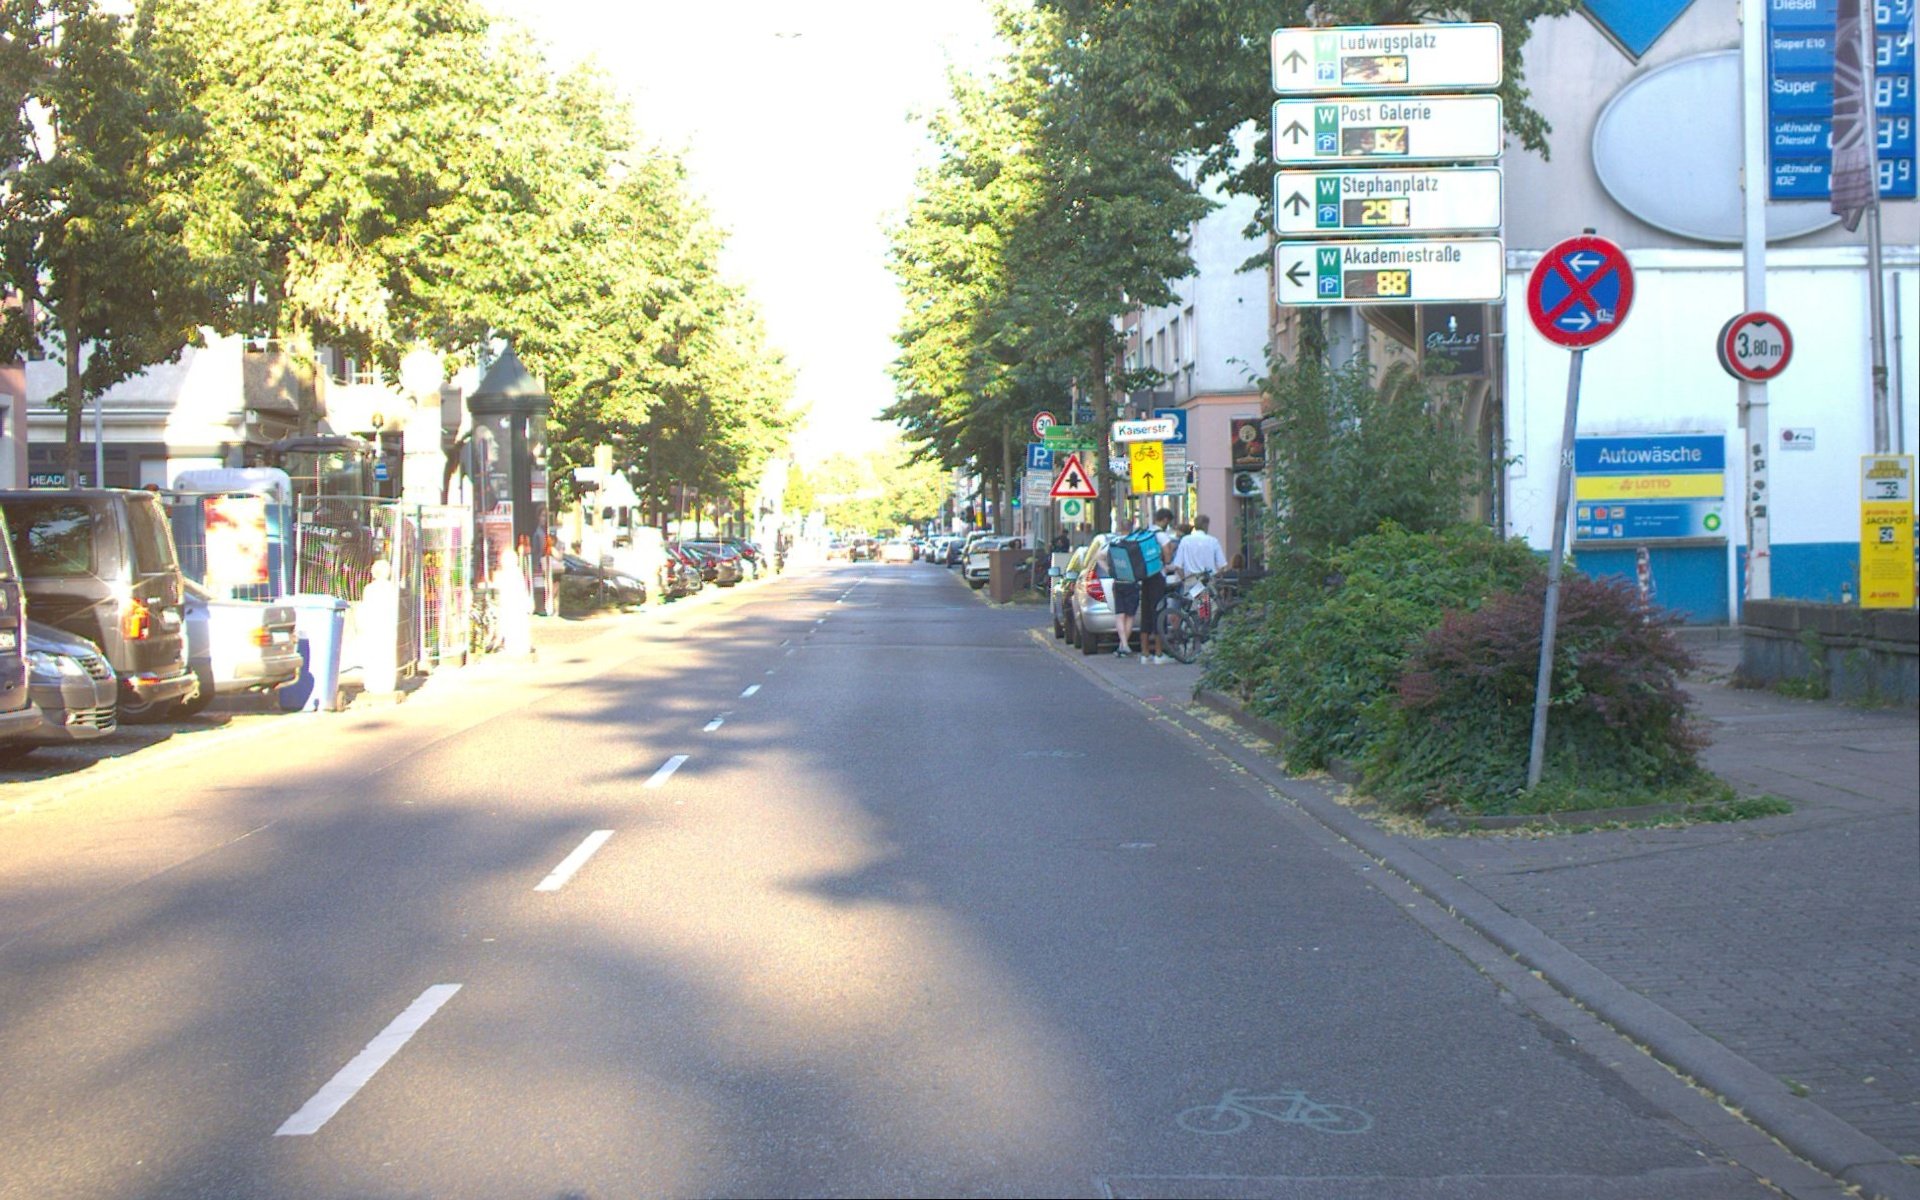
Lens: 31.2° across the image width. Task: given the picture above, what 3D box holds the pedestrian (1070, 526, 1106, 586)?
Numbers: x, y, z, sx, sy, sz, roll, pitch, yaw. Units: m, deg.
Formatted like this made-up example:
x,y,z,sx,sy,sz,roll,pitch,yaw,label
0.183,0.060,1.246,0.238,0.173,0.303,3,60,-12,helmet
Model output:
x,y,z,sx,sy,sz,roll,pitch,yaw,label
4.096,-1.422,110.395,0.916,1.919,1.018,1,1,-11,pedestrian

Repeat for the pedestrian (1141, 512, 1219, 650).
x,y,z,sx,sy,sz,roll,pitch,yaw,label
2.781,-0.246,43.540,0.677,1.700,0.825,-3,1,-15,pedestrian

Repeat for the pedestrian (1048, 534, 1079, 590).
x,y,z,sx,sy,sz,roll,pitch,yaw,label
2.575,-0.956,85.836,0.726,1.373,0.781,0,1,-1,pedestrian

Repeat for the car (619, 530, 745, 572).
x,y,z,sx,sy,sz,roll,pitch,yaw,label
-10.163,-1.795,125.907,4.442,1.518,1.919,0,1,0,car

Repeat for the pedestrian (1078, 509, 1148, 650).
x,y,z,sx,sy,sz,roll,pitch,yaw,label
1.920,-0.265,43.262,0.677,1.748,0.825,-1,1,-11,pedestrian

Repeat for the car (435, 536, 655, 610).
x,y,z,sx,sy,sz,roll,pitch,yaw,label
-8.882,-0.585,73.795,4.546,1.536,1.811,0,1,-2,car

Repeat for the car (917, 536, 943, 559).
x,y,z,sx,sy,sz,roll,pitch,yaw,label
-2.038,-3.597,234.697,1.752,1.535,3.304,-1,1,0,car

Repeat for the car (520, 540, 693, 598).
x,y,z,sx,sy,sz,roll,pitch,yaw,label
-9.435,-0.832,91.946,4.442,1.501,1.845,0,1,0,car

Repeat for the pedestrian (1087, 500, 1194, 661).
x,y,z,sx,sy,sz,roll,pitch,yaw,label
2.124,-0.235,40.439,1.013,1.819,0.780,-3,1,-10,pedestrian

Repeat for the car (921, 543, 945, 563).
x,y,z,sx,sy,sz,roll,pitch,yaw,label
-1.747,-3.033,223.282,1.513,1.294,3.304,0,1,0,car

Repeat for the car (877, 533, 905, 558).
x,y,z,sx,sy,sz,roll,pitch,yaw,label
-4.482,-3.536,223.377,1.752,1.535,3.304,-1,1,0,car

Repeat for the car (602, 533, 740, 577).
x,y,z,sx,sy,sz,roll,pitch,yaw,label
-9.641,-1.495,115.039,4.442,1.444,1.919,0,1,0,car

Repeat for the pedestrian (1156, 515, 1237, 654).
x,y,z,sx,sy,sz,roll,pitch,yaw,label
2.957,-0.194,42.934,0.651,1.694,0.667,-4,1,-45,pedestrian

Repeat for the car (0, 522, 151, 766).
x,y,z,sx,sy,sz,roll,pitch,yaw,label
-7.939,0.258,24.027,4.129,1.631,1.860,1,1,0,car

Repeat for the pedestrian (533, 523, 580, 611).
x,y,z,sx,sy,sz,roll,pitch,yaw,label
-7.816,-0.644,66.594,0.710,1.680,0.833,0,1,8,pedestrian

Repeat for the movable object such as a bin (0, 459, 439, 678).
x,y,z,sx,sy,sz,roll,pitch,yaw,label
-9.355,-0.415,41.933,2.312,2.486,5.740,1,1,43,movable object such as a bin

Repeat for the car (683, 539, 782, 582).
x,y,z,sx,sy,sz,roll,pitch,yaw,label
-10.558,-1.840,159.693,4.442,1.953,1.919,0,1,0,car

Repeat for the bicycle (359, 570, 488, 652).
x,y,z,sx,sy,sz,roll,pitch,yaw,label
-7.445,0.150,47.748,1.682,1.075,0.444,2,0,-1,bicycle

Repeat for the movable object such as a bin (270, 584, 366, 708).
x,y,z,sx,sy,sz,roll,pitch,yaw,label
-5.939,0.417,31.838,0.690,1.101,0.883,-1,1,1,movable object such as a bin

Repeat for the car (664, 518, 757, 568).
x,y,z,sx,sy,sz,roll,pitch,yaw,label
-12.328,-2.814,169.836,4.442,2.426,1.919,0,1,0,car

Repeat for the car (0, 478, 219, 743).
x,y,z,sx,sy,sz,roll,pitch,yaw,label
-8.147,0.044,26.521,4.483,1.969,1.966,1,1,-3,car

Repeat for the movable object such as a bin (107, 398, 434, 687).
x,y,z,sx,sy,sz,roll,pitch,yaw,label
-7.500,-0.643,38.041,2.624,2.959,5.304,0,1,-1,movable object such as a bin

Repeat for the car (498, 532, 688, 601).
x,y,z,sx,sy,sz,roll,pitch,yaw,label
-9.251,-0.853,86.949,4.571,1.692,2.060,0,1,0,car

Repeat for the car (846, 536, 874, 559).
x,y,z,sx,sy,sz,roll,pitch,yaw,label
-6.871,-3.584,236.609,1.752,1.535,3.304,-1,1,0,car

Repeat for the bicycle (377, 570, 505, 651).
x,y,z,sx,sy,sz,roll,pitch,yaw,label
-7.297,0.151,48.341,1.683,1.075,0.444,2,0,7,bicycle

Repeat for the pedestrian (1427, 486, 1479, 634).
x,y,z,sx,sy,sz,roll,pitch,yaw,label
6.304,-0.512,43.952,0.460,1.869,0.501,-1,1,-16,pedestrian

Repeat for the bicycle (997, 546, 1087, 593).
x,y,z,sx,sy,sz,roll,pitch,yaw,label
1.861,-0.699,78.082,1.957,1.070,0.704,0,1,31,bicycle

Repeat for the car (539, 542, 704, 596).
x,y,z,sx,sy,sz,roll,pitch,yaw,label
-9.483,-0.885,96.515,4.442,1.479,1.809,0,1,0,car

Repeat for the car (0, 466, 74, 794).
x,y,z,sx,sy,sz,roll,pitch,yaw,label
-8.013,0.163,21.357,4.483,1.969,2.068,0,1,0,car

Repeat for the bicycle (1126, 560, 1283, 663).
x,y,z,sx,sy,sz,roll,pitch,yaw,label
2.883,0.125,40.315,0.866,1.095,1.923,-1,2,38,bicycle

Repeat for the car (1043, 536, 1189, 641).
x,y,z,sx,sy,sz,roll,pitch,yaw,label
2.254,-0.205,50.661,1.785,1.370,4.524,-3,1,-1,car

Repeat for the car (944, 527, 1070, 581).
x,y,z,sx,sy,sz,roll,pitch,yaw,label
1.430,-1.375,102.789,1.674,1.583,3.814,1,1,42,car

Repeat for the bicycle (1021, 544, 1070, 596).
x,y,z,sx,sy,sz,roll,pitch,yaw,label
1.982,-0.706,79.544,0.598,1.174,1.844,0,1,19,bicycle

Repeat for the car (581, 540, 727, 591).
x,y,z,sx,sy,sz,roll,pitch,yaw,label
-9.640,-1.084,108.435,4.442,1.562,1.919,0,1,0,car

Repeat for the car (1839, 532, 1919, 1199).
x,y,z,sx,sy,sz,roll,pitch,yaw,label
2.962,0.607,5.053,1.828,1.483,4.850,-3,1,-3,car

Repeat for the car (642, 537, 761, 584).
x,y,z,sx,sy,sz,roll,pitch,yaw,label
-9.947,-1.532,132.414,4.442,1.753,1.919,0,1,0,car

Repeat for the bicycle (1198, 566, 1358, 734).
x,y,z,sx,sy,sz,roll,pitch,yaw,label
2.380,0.357,25.579,0.483,1.139,1.678,-3,1,30,bicycle

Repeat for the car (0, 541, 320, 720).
x,y,z,sx,sy,sz,roll,pitch,yaw,label
-8.040,0.233,29.794,4.594,1.465,1.892,0,1,2,car

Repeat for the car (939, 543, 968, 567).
x,y,z,sx,sy,sz,roll,pitch,yaw,label
-0.331,-2.367,182.334,1.513,1.271,3.304,0,1,0,car

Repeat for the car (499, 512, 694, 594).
x,y,z,sx,sy,sz,roll,pitch,yaw,label
-8.863,-1.142,84.125,4.571,1.955,1.991,0,1,-1,car

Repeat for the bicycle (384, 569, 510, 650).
x,y,z,sx,sy,sz,roll,pitch,yaw,label
-7.299,0.136,48.931,1.683,1.075,0.444,2,0,7,bicycle

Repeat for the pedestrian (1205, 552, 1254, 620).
x,y,z,sx,sy,sz,roll,pitch,yaw,label
4.687,-0.233,59.824,0.681,1.137,1.361,-2,-1,-1,pedestrian

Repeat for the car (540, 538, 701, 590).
x,y,z,sx,sy,sz,roll,pitch,yaw,label
-9.738,-1.033,98.818,4.442,1.453,1.859,0,1,0,car

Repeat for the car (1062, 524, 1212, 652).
x,y,z,sx,sy,sz,roll,pitch,yaw,label
2.345,-0.199,46.335,1.687,1.569,4.013,-3,1,-1,car
